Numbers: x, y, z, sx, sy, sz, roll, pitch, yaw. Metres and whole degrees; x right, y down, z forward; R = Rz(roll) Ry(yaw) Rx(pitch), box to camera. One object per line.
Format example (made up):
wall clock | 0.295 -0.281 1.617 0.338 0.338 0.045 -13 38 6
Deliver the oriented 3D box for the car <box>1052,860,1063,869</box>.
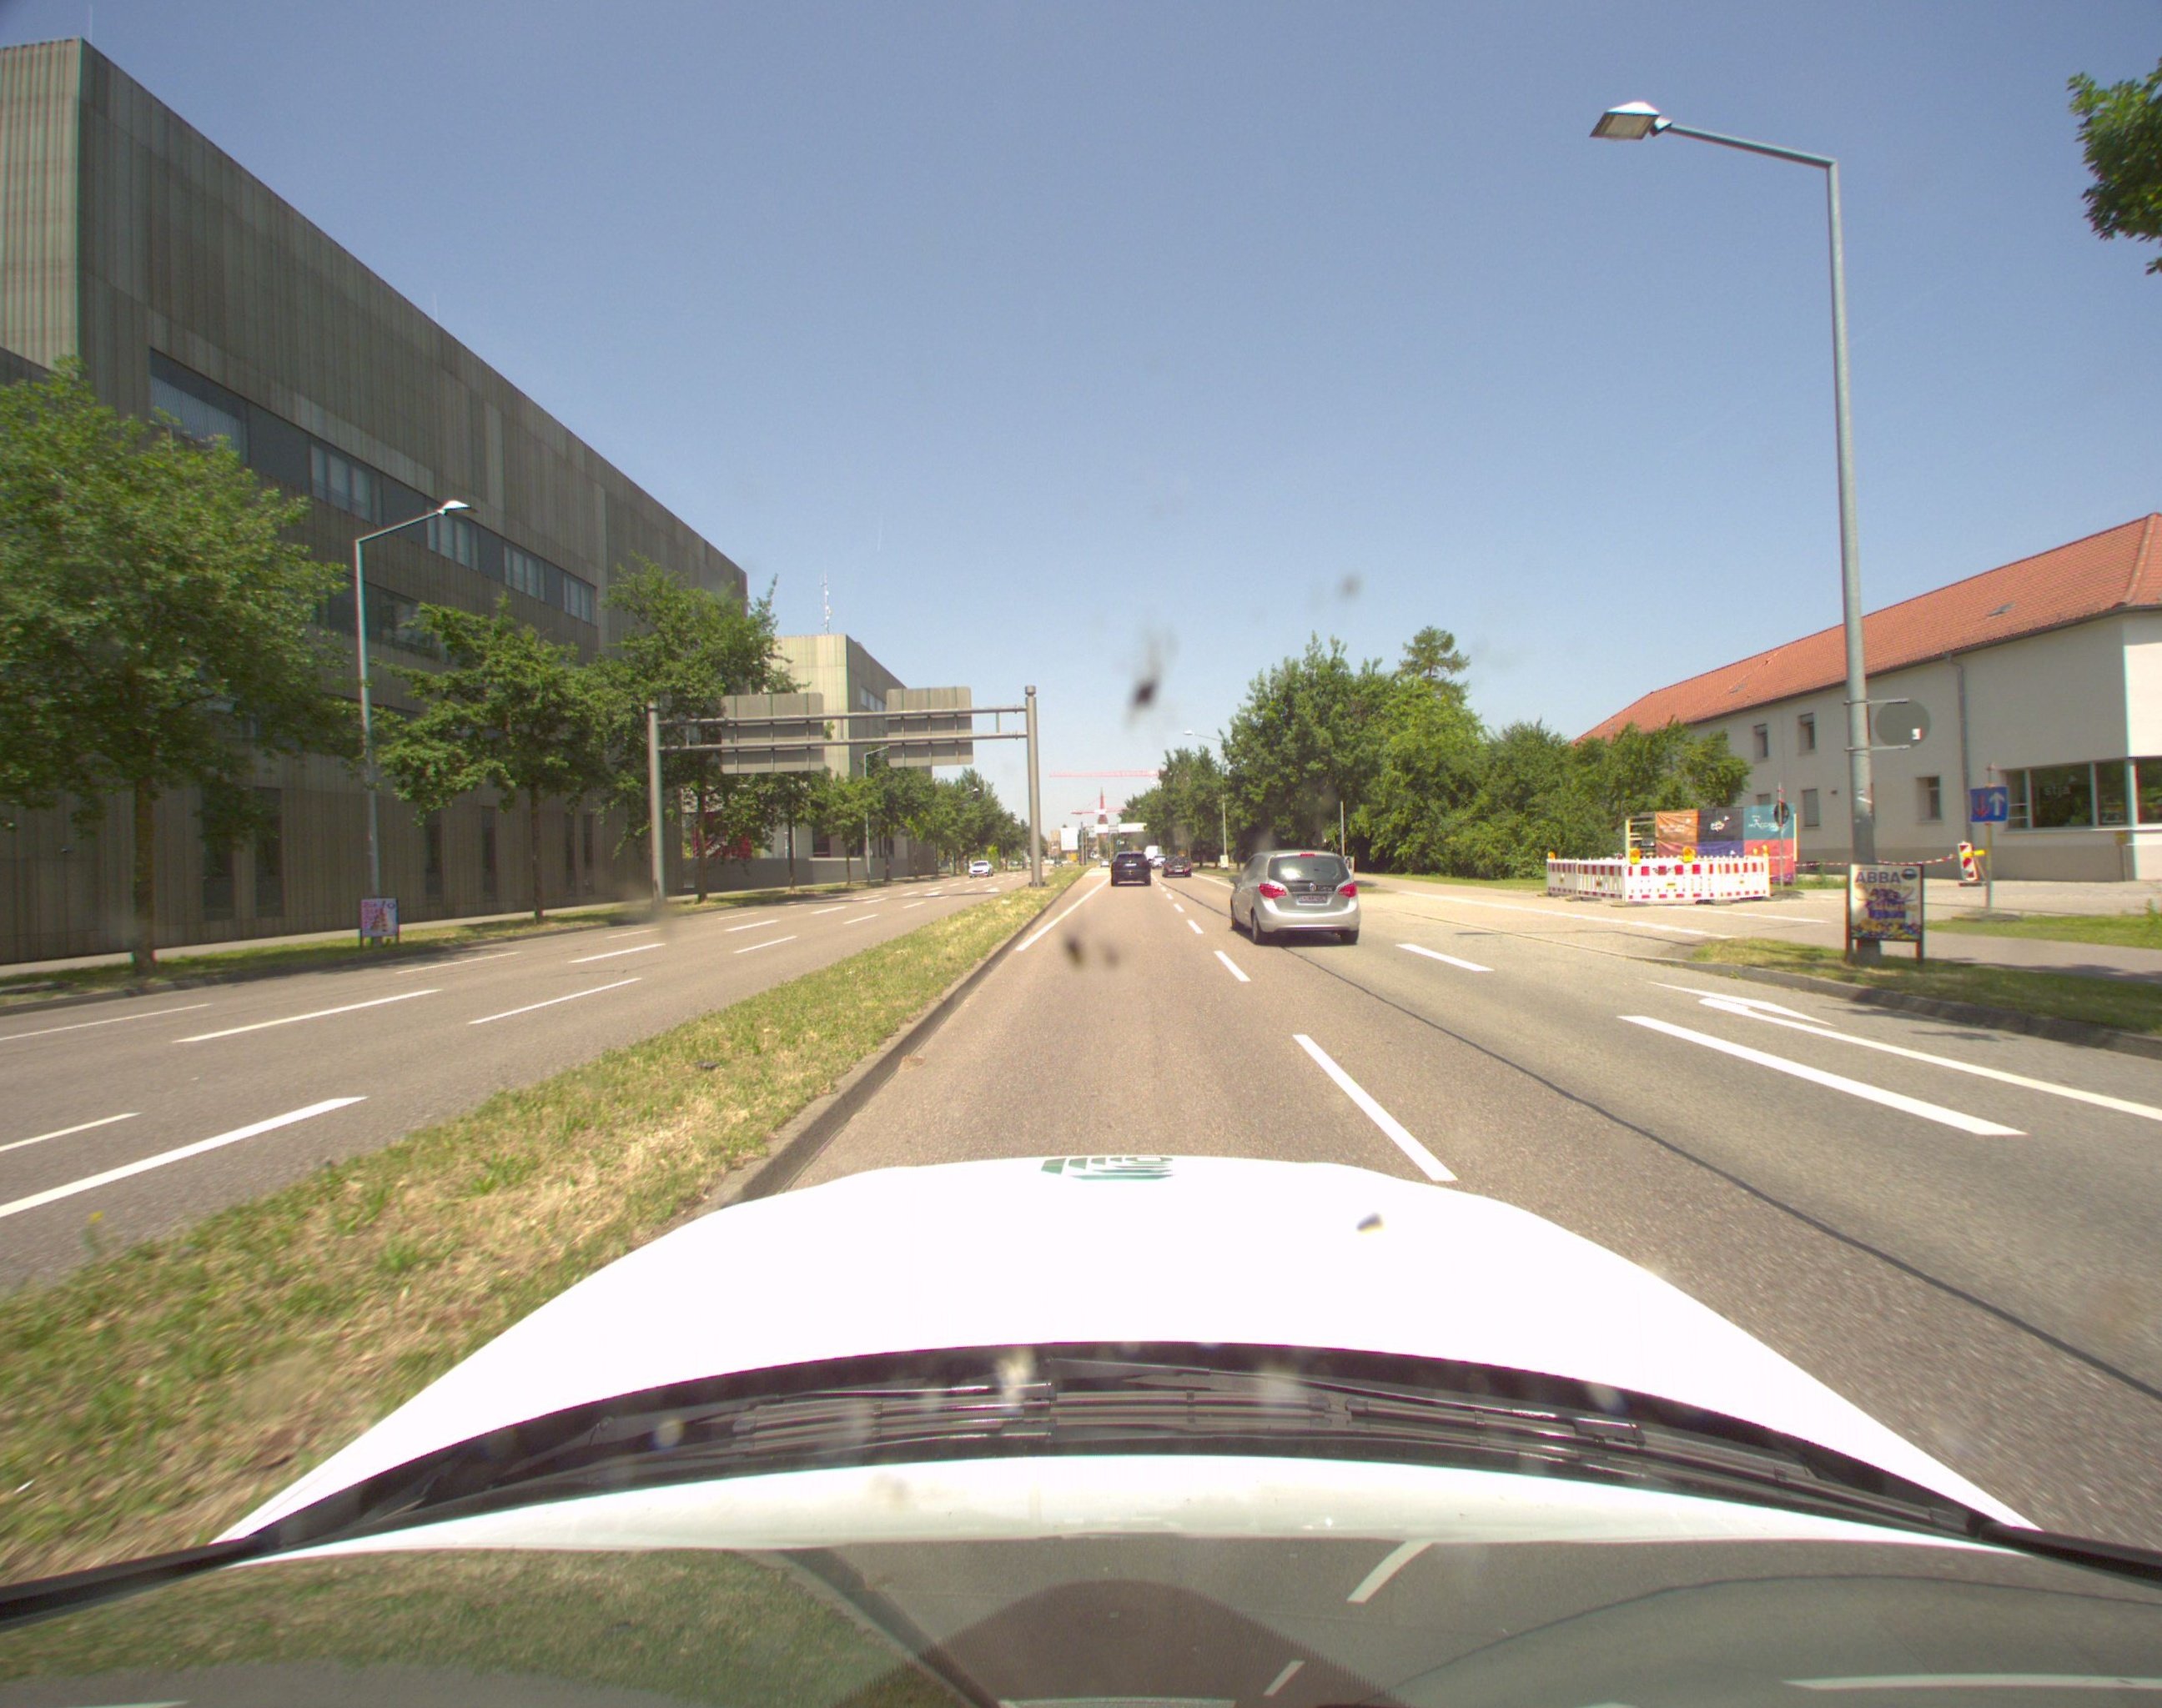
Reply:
car | -4.303 1.890 149.245 1.702 1.472 3.940 -3 0 0

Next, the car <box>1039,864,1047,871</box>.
car | -10.439 3.657 222.739 1.887 1.610 4.532 -2 0 -1

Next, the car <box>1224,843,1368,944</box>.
car | 3.781 0.633 14.984 1.785 1.612 3.893 -1 0 3

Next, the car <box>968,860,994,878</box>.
car | -9.085 1.354 74.471 1.805 1.427 4.358 -3 0 0

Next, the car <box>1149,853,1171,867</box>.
car | 8.067 0.639 83.704 1.650 1.356 4.457 -2 -1 -2

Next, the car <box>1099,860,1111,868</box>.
car | 4.421 1.757 149.491 1.989 1.321 3.996 -2 0 -3

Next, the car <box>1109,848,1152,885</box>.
car | 2.412 0.604 40.063 1.989 1.689 4.037 -1 0 3

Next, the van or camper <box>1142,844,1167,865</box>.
van or camper | 8.619 0.115 95.794 2.486 2.291 4.919 -2 -1 0

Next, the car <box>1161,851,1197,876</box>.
car | 6.343 0.598 52.970 2.005 1.517 4.465 -2 -1 3
